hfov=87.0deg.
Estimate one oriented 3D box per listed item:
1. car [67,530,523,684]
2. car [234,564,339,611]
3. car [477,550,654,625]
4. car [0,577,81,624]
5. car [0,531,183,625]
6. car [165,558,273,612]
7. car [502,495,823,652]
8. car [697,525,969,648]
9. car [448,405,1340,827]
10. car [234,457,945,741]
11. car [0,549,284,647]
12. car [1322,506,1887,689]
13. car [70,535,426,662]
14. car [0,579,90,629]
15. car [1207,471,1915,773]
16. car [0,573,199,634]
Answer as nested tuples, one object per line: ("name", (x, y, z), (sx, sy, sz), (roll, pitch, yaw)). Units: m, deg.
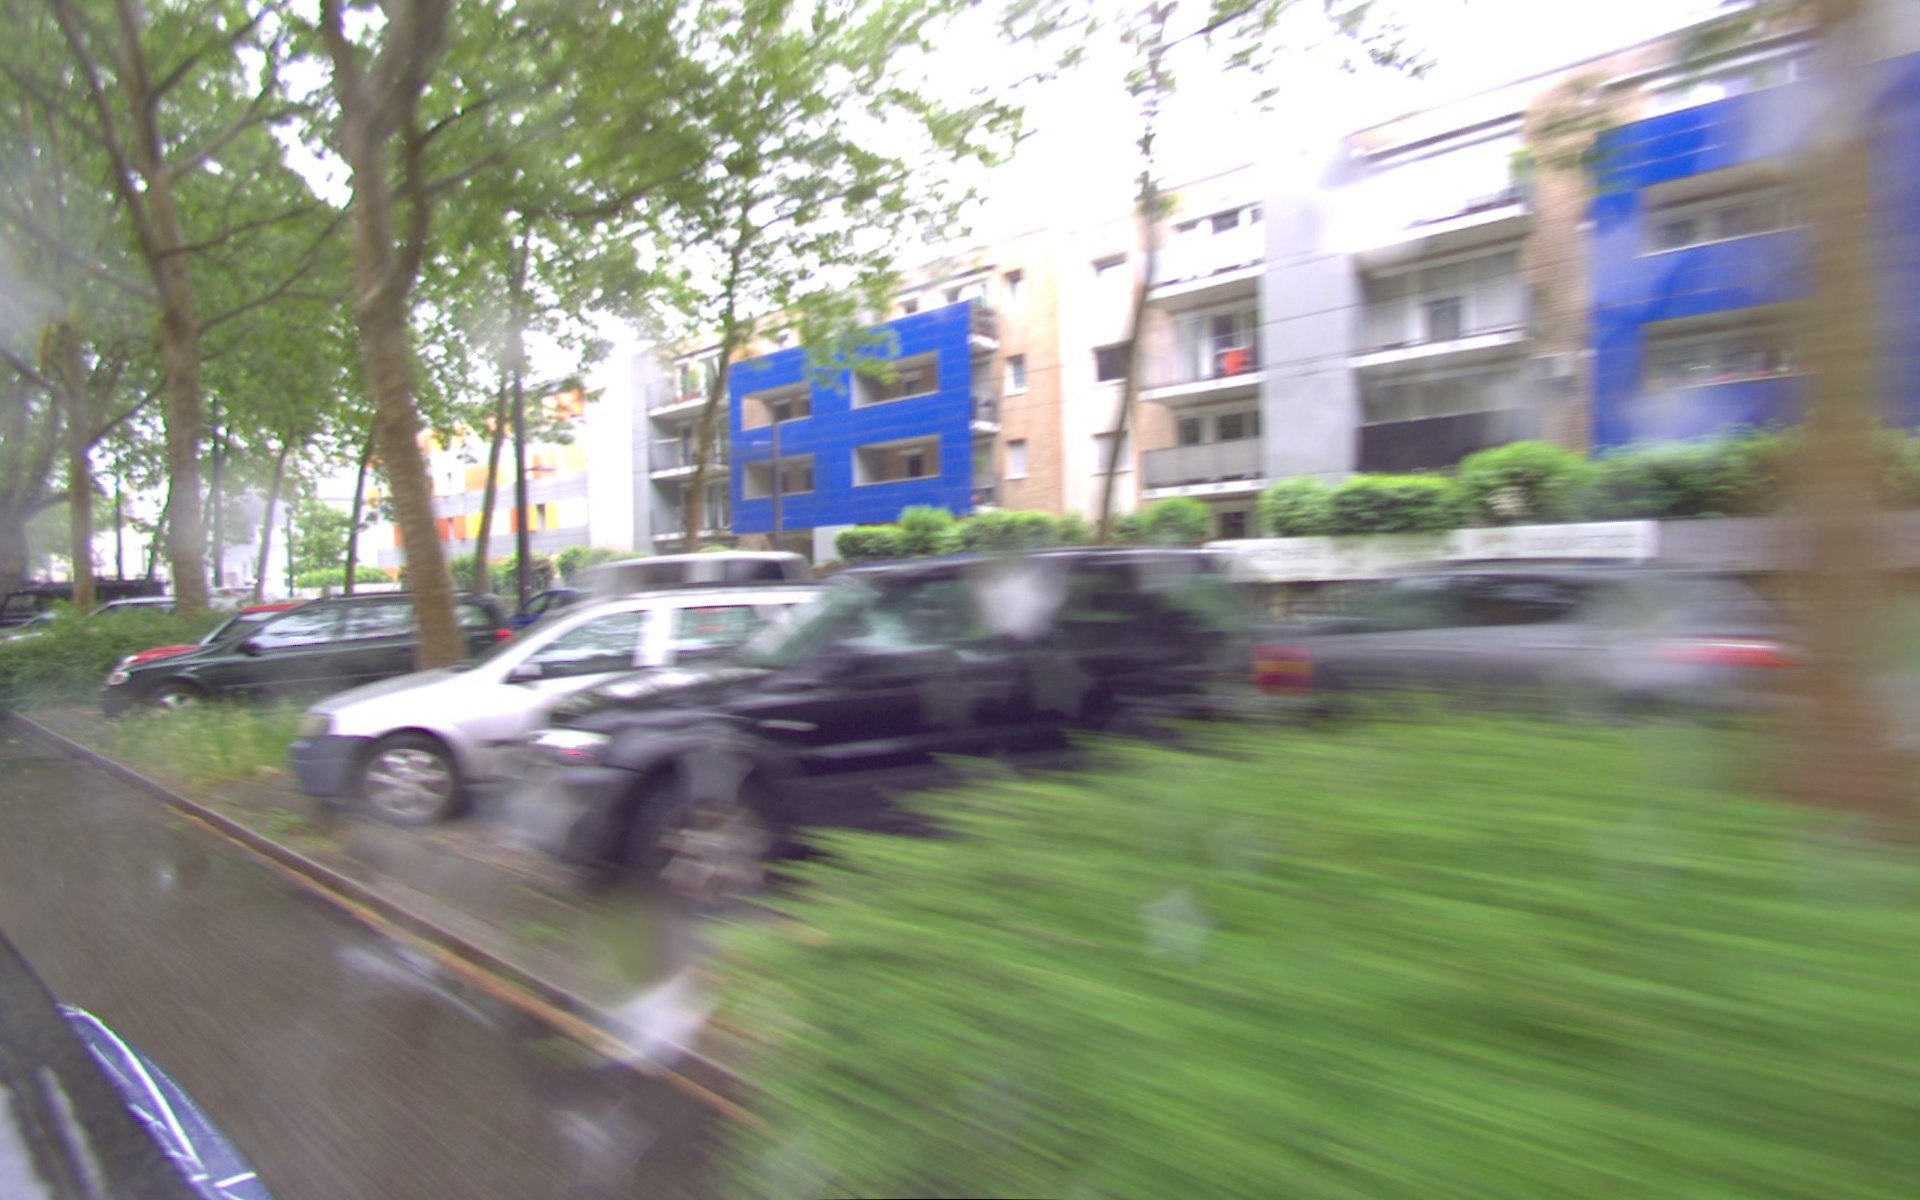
("car", (-7.453, 0.008, 11.888), (4.157, 1.490, 1.749), (-3, 2, -22))
("car", (-23.737, -0.437, 35.626), (4.212, 1.545, 1.885), (0, 2, 40))
("car", (-8.974, -0.294, 22.899), (4.212, 1.545, 1.885), (0, 2, 40))
("car", (-30.435, 0.027, 31.739), (3.976, 1.445, 1.787), (-1, 1, -24))
("car", (-23.079, -0.559, 25.955), (4.580, 2.300, 2.018), (-1, 1, -20))
("car", (-30.480, -0.603, 41.584), (5.426, 2.012, 2.035), (0, 4, 37))
("car", (-4.632, -0.374, 15.342), (5.152, 2.014, 2.019), (0, 2, 38))
("car", (-2.172, -0.236, 16.573), (4.417, 1.753, 1.885), (0, 2, 40))
("car", (-0.310, 0.007, 5.665), (4.342, 1.672, 1.936), (-1, 1, -20))
("car", (-2.470, -0.006, 7.479), (4.342, 1.658, 1.878), (0, 1, -18))
("car", (-14.932, -0.077, 18.483), (3.995, 1.549, 1.841), (-3, 2, -24))
("car", (5.979, -0.028, 9.824), (4.251, 1.399, 1.975), (-1, 1, 37))
("car", (-9.495, -0.068, 13.859), (3.591, 1.490, 1.749), (-3, 2, -19))
("car", (-28.514, 0.113, 30.203), (3.442, 1.447, 1.787), (-1, 1, -22))
("car", (4.213, 0.056, 7.601), (4.135, 1.652, 1.974), (1, 3, 39))
("car", (-20.983, 0.069, 23.790), (4.579, 1.335, 1.853), (-1, 1, -22))
